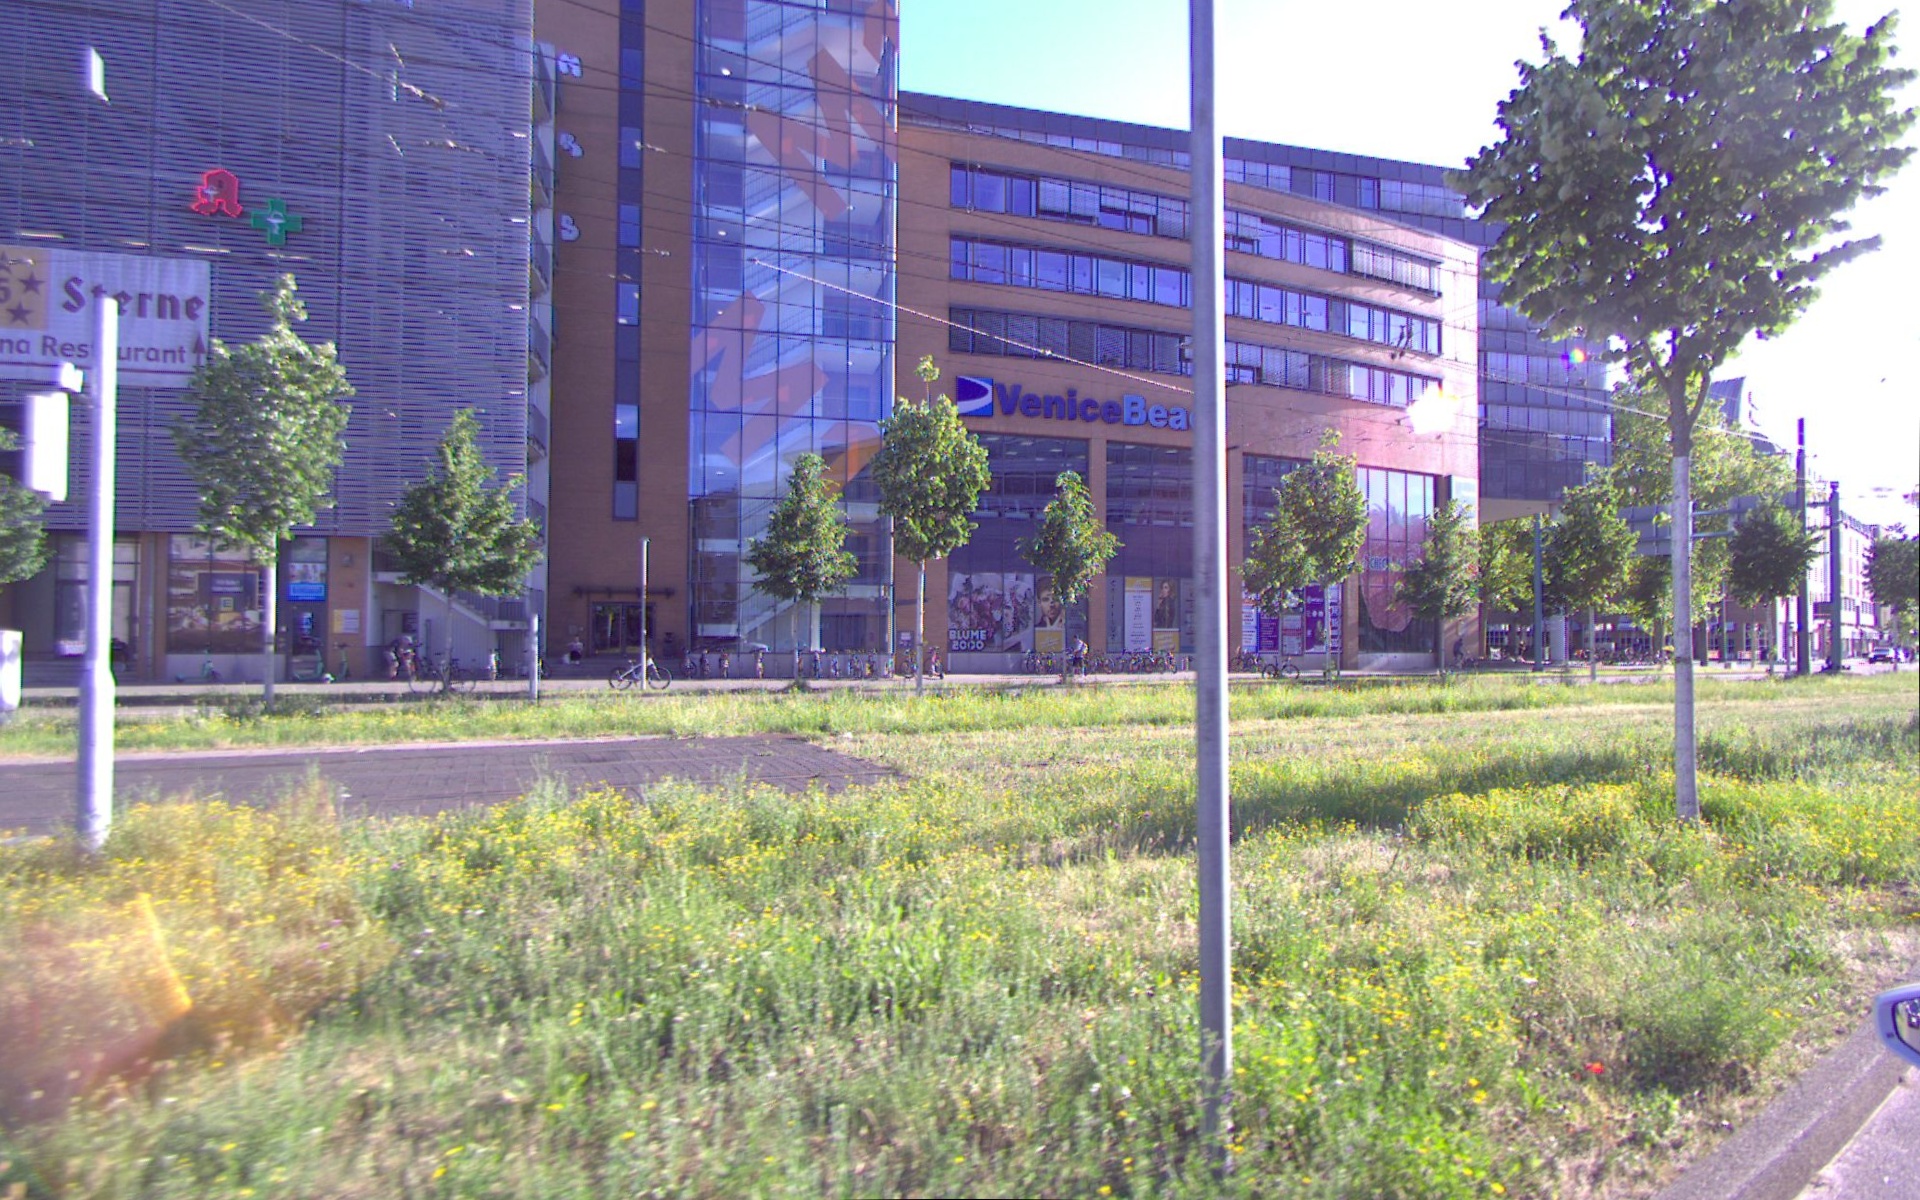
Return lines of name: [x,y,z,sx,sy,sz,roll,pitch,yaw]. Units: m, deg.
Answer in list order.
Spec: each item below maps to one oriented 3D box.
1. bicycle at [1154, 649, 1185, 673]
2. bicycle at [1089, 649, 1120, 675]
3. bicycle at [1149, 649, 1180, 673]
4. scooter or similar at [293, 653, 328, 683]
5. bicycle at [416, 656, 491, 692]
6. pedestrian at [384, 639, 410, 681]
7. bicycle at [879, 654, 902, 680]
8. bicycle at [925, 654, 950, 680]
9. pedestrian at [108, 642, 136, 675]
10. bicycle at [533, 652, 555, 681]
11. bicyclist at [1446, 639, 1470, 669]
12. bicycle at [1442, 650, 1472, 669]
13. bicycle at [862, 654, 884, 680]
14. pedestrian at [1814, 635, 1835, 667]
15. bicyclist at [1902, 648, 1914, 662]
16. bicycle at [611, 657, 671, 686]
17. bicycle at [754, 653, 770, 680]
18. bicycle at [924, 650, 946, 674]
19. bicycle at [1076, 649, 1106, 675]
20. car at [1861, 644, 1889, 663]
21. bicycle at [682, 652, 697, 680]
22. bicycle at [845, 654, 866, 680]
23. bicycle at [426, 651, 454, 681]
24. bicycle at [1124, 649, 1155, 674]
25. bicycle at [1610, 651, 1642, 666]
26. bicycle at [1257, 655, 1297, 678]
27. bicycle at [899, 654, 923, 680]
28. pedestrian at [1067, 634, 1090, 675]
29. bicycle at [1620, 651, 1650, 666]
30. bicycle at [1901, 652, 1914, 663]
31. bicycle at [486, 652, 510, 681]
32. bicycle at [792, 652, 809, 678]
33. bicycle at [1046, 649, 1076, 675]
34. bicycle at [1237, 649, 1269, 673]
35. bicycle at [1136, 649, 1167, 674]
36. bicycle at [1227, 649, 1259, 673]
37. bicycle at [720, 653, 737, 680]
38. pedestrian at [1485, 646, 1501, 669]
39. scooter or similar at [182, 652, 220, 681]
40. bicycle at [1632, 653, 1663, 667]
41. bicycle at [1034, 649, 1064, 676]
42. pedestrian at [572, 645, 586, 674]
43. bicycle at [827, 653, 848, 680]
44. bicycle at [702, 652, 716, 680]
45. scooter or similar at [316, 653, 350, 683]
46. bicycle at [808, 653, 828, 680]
bicycle: [9.587,2.770,45.989,0.483,1.063,1.762,1,-2,-23]
bicycle: [6.302,2.698,43.887,0.483,1.063,1.762,1,-2,-23]
bicycle: [9.204,2.751,45.346,0.483,1.063,1.762,1,-2,-23]
scooter or similar: [-20.618,2.146,31.872,0.285,0.905,0.900,0,-2,26]
bicycle: [-13.667,1.992,27.139,1.743,0.935,0.385,1,-2,-19]
pedestrian: [-18.114,1.926,32.334,0.620,1.306,0.447,1,-2,-18]
bicycle: [-2.650,2.531,38.050,0.555,0.938,1.767,1,-2,-14]
bicycle: [-0.878,2.577,38.618,0.555,0.938,1.767,1,-2,-14]
pedestrian: [-26.810,1.868,32.126,0.416,1.052,0.566,1,-2,-8]
bicycle: [-14.065,2.247,33.998,0.454,0.938,1.397,1,-2,-14]
bicyclist: [25.267,2.723,51.002,1.006,1.484,0.674,2,-2,-33]
bicycle: [25.254,2.999,50.994,1.868,0.922,0.495,2,-2,-34]
bicycle: [-3.291,2.514,37.874,0.555,0.938,1.767,1,-2,-14]
pedestrian: [55.033,3.243,63.956,0.826,2.040,0.730,1,-1,-26]
bicyclist: [97.478,5.620,103.276,0.943,1.393,0.751,2,-2,-40]
bicycle: [-9.784,2.187,30.827,1.743,0.880,0.385,1,-2,-19]
bicycle: [-7.237,2.415,36.696,0.482,0.938,1.767,1,-2,-14]
bicycle: [-1.054,2.575,42.003,0.555,0.938,1.767,1,-2,-14]
bicycle: [5.688,2.690,43.561,0.483,1.063,1.762,1,-2,-23]
car: [98.524,5.749,108.109,3.973,2.040,1.974,2,-3,-44]
bicycle: [-9.638,2.348,35.847,0.482,0.938,1.767,1,-2,-14]
bicycle: [-3.939,2.498,37.698,0.555,0.938,1.767,1,-2,-14]
bicycle: [-16.735,2.120,32.343,0.454,0.938,1.397,1,-2,-14]
bicycle: [7.997,2.748,44.744,0.483,1.063,1.762,1,-2,-23]
bicycle: [45.802,4.004,69.060,0.538,0.964,1.748,2,-3,-45]
bicycle: [12.444,2.612,39.389,1.751,0.880,0.461,2,-2,-31]
bicycle: [-1.876,2.550,38.267,0.555,0.938,1.767,1,-2,-14]
pedestrian: [4.901,2.265,41.690,0.666,1.690,0.743,1,-2,-24]
bicycle: [46.798,4.046,69.649,1.741,0.964,0.540,-1,-2,34]
bicycle: [97.424,5.910,103.237,2.903,1.099,0.644,2,-2,-40]
bicycle: [-15.430,2.211,33.559,0.454,0.938,1.397,1,-2,-14]
bicycle: [-5.907,2.395,37.168,0.482,0.938,1.767,1,-2,-14]
bicycle: [4.297,2.648,42.785,0.483,1.063,1.762,1,-2,-23]
bicycle: [13.861,2.887,47.600,0.483,1.063,1.762,1,-2,-23]
bicycle: [8.588,2.732,45.007,0.483,1.063,1.762,1,-2,-23]
bicycle: [13.317,2.871,47.308,0.483,1.063,1.762,1,-2,-23]
bicycle: [-8.351,2.381,36.237,0.555,0.938,1.767,1,-2,-14]
pedestrian: [39.862,4.305,75.084,0.826,1.667,0.730,1,-2,-26]
scooter or similar: [-23.575,2.061,31.200,0.886,0.905,0.290,1,-2,-14]
bicycle: [48.569,4.248,70.942,0.536,0.964,1.753,2,-2,-37]
bicycle: [3.764,2.632,42.511,0.483,1.063,1.762,1,-2,-23]
pedestrian: [-14.219,2.203,37.511,0.442,1.068,0.627,1,-2,-18]
bicycle: [-4.585,2.481,37.506,0.555,0.938,1.767,1,-2,-14]
bicycle: [-9.008,2.364,36.064,0.482,0.938,1.767,1,-2,-14]
scooter or similar: [-19.801,2.137,31.711,0.285,0.905,0.901,0,-2,22]
bicycle: [-5.277,2.463,37.279,0.555,0.938,1.767,1,-2,-14]
